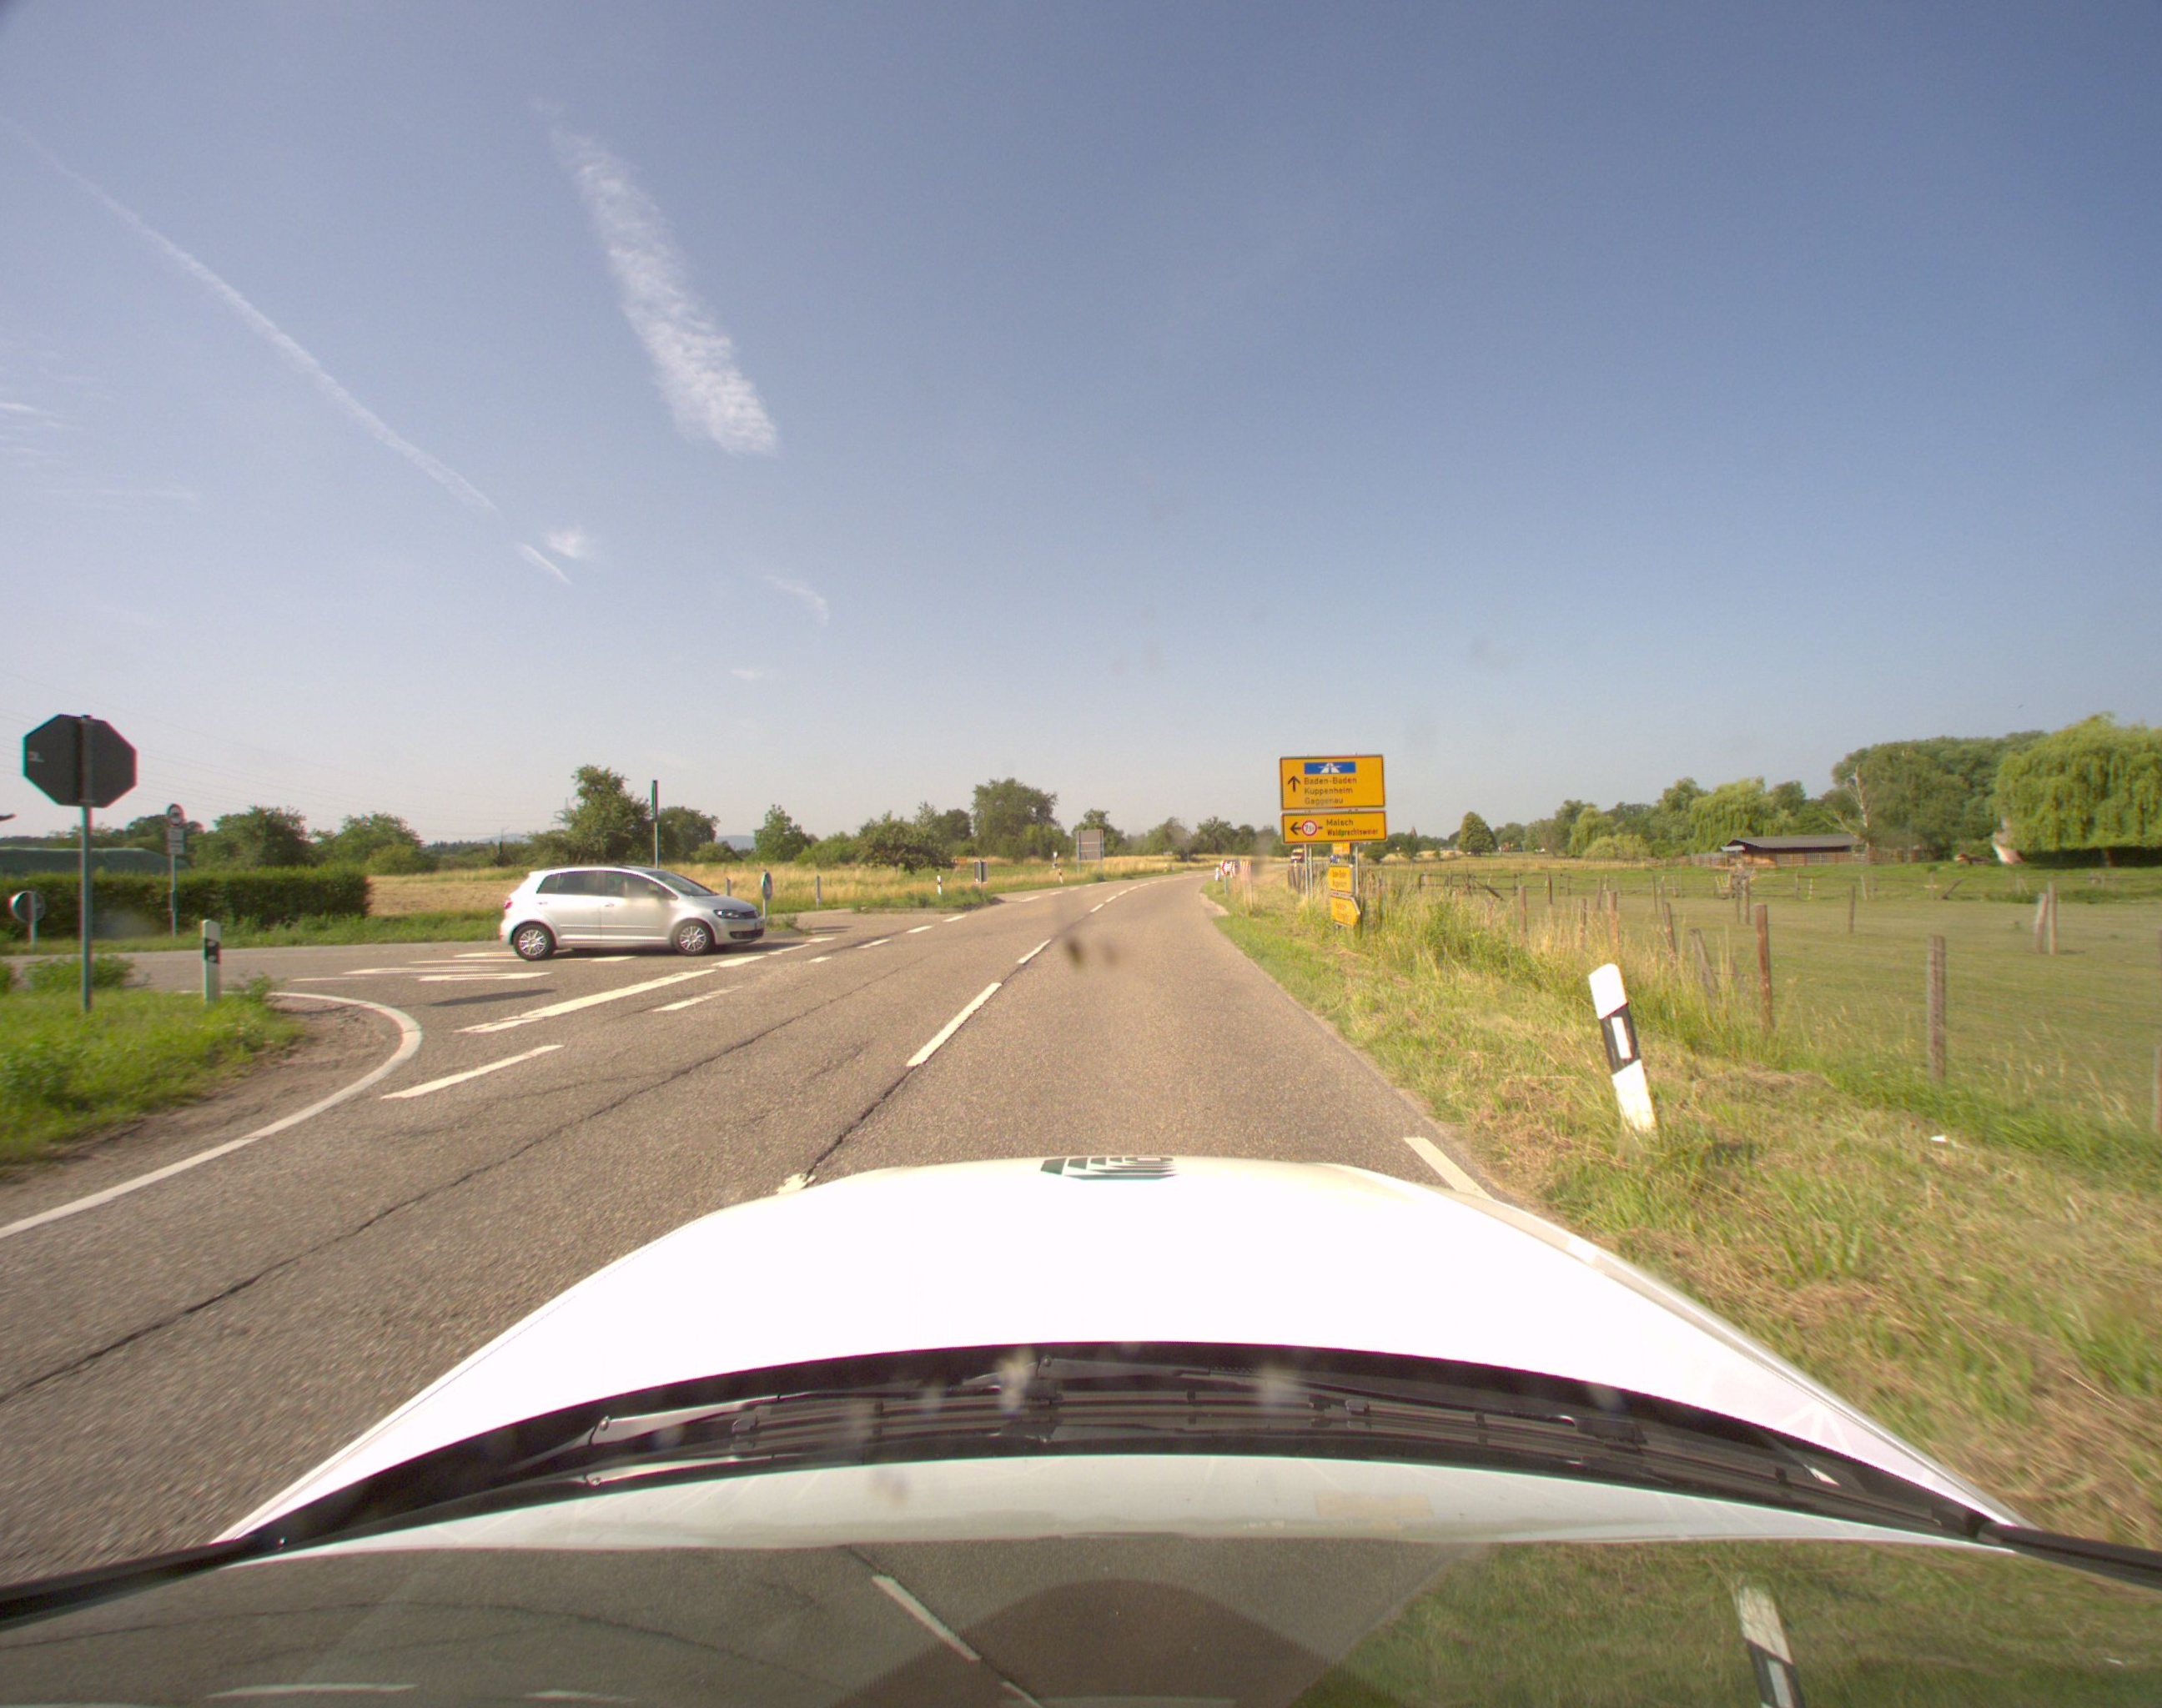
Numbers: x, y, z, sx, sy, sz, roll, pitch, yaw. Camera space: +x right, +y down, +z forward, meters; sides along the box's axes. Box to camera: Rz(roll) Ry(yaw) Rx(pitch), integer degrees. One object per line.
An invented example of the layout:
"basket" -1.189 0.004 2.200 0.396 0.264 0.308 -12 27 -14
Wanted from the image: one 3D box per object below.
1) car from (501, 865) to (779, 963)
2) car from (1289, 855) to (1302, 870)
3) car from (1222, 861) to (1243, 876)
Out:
"car" -7.690 1.000 14.597 3.892 1.580 1.995 0 -1 -7
"car" 39.432 1.564 149.514 2.107 2.696 5.291 -1 0 17
"car" 15.747 1.538 84.663 1.885 1.512 4.015 0 -1 14
